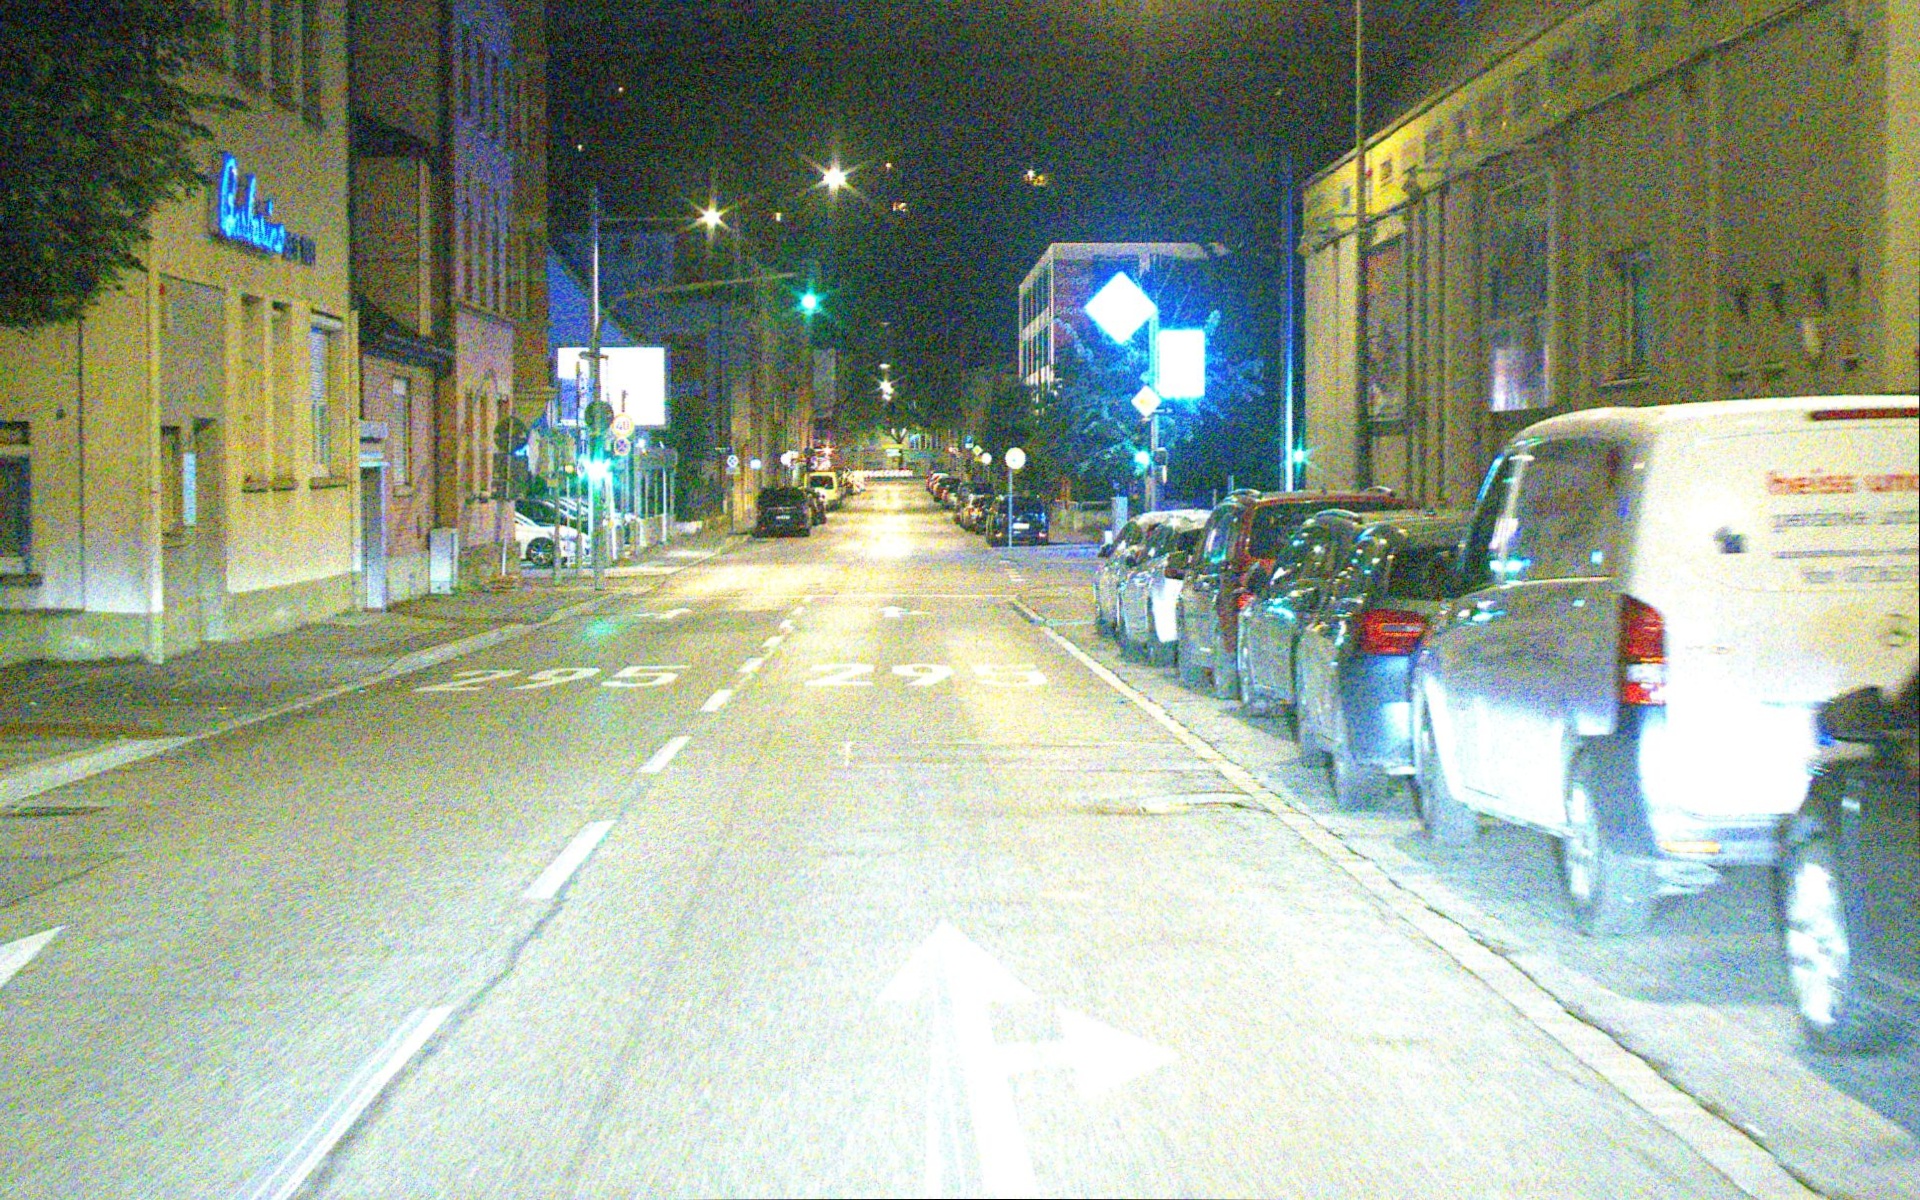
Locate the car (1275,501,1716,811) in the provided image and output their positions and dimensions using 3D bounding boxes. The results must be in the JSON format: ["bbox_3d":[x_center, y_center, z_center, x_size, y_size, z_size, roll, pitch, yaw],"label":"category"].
[{"bbox_3d":[2.764,0.212,18.615,1.816,1.422,4.189,-1,2,2],"label":"car"}]

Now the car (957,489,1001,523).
[{"bbox_3d":[0.884,-4.256,156.492,1.993,1.515,4.000,0,1,1],"label":"car"}]

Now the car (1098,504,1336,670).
[{"bbox_3d":[2.480,-0.167,34.266,1.774,1.539,4.547,0,1,-3],"label":"car"}]

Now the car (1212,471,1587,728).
[{"bbox_3d":[2.926,-0.086,23.869,1.823,1.583,4.629,-1,2,-2],"label":"car"}]

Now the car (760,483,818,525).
[{"bbox_3d":[-6.292,-3.536,126.779,1.993,1.496,4.000,0,1,-1],"label":"car"}]

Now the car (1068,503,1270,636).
[{"bbox_3d":[2.409,-0.392,40.688,1.859,1.484,4.547,0,1,-3],"label":"car"}]

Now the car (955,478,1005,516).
[{"bbox_3d":[0.814,-4.150,138.624,1.993,1.515,4.000,0,1,1],"label":"car"}]

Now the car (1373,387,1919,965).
[{"bbox_3d":[2.969,0.153,13.706,1.800,1.868,4.774,-2,2,-3],"label":"car"}]

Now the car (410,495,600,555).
[{"bbox_3d":[-11.145,-1.846,84.406,4.438,1.444,2.000,0,1,-1],"label":"car"}]

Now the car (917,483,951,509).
[{"bbox_3d":[-1.537,-6.200,204.568,1.993,1.515,4.000,0,1,1],"label":"car"}]

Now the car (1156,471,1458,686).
[{"bbox_3d":[2.798,-0.243,28.661,1.823,1.617,4.459,-1,2,-3],"label":"car"}]

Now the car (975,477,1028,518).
[{"bbox_3d":[1.599,-3.930,132.253,1.993,1.515,4.000,0,1,1],"label":"car"}]

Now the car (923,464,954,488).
[{"bbox_3d":[-1.425,-8.165,227.341,1.993,1.515,4.000,0,1,1],"label":"car"}]

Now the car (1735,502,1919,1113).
[{"bbox_3d":[3.100,0.501,8.184,1.595,1.462,3.892,0,1,0],"label":"car"}]

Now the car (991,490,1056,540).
[{"bbox_3d":[1.996,-2.695,108.516,1.993,1.511,4.000,1,2,1],"label":"car"}]
